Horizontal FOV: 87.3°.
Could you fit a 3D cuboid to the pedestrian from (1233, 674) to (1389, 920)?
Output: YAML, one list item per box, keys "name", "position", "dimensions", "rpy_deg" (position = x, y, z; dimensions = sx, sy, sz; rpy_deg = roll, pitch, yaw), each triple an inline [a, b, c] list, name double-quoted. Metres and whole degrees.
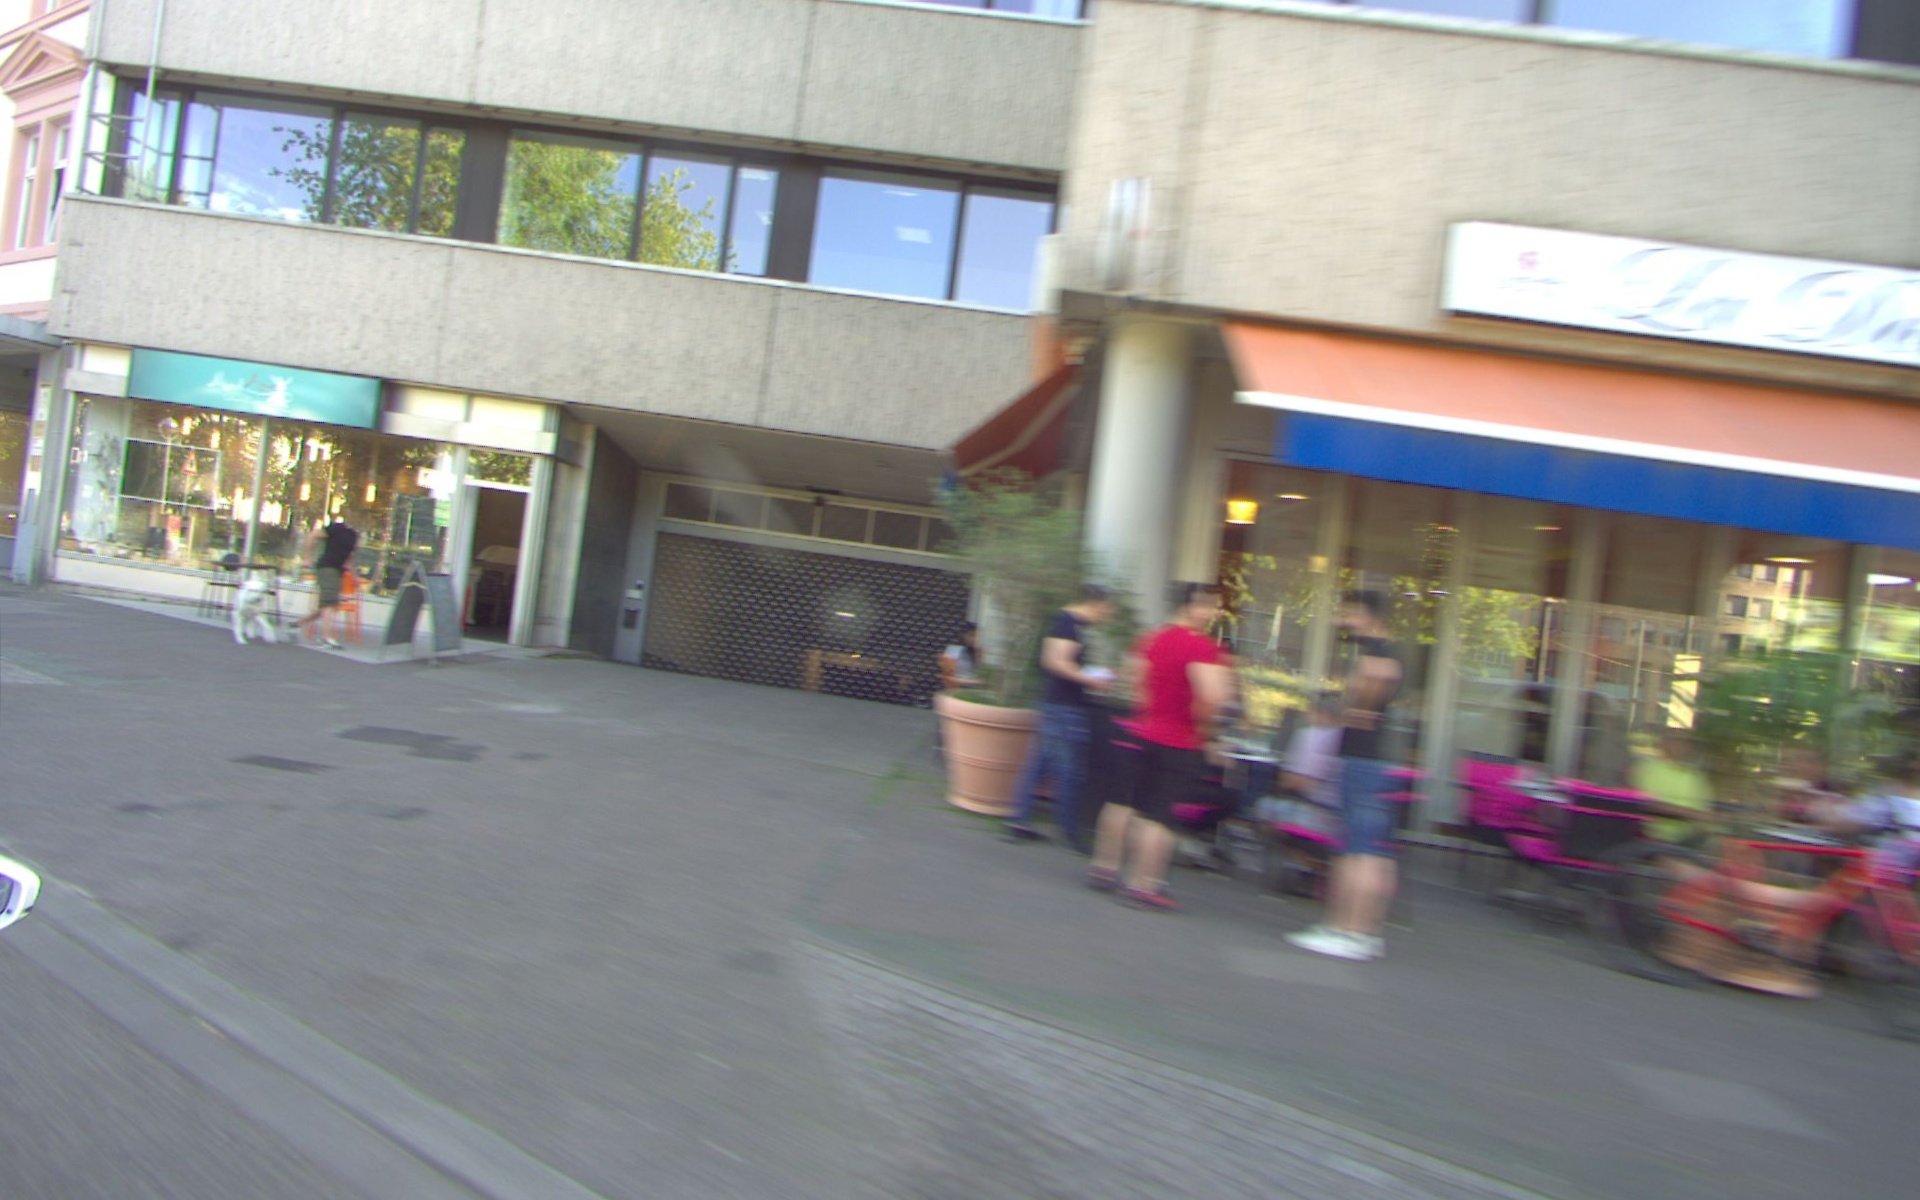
- name: "pedestrian"
  position: [2.039, 1.089, 5.819]
  dimensions: [0.614, 1.252, 0.630]
  rpy_deg: [6, 1, 33]

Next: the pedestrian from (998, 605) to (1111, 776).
- name: "pedestrian"
  position: [0.870, 0.824, 9.401]
  dimensions: [0.815, 1.418, 0.844]
  rpy_deg: [8, -1, 4]

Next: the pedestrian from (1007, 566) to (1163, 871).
- name: "pedestrian"
  position: [0.759, 0.703, 6.377]
  dimensions: [0.706, 1.732, 0.843]
  rpy_deg: [7, 1, 2]

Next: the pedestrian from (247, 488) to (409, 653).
- name: "pedestrian"
  position: [-7.567, -0.338, 12.081]
  dimensions: [1.005, 1.762, 1.135]
  rpy_deg: [6, -2, 32]

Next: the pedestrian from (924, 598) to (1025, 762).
- name: "pedestrian"
  position: [0.131, 0.756, 9.730]
  dimensions: [0.739, 1.418, 0.844]
  rpy_deg: [8, -2, 0]

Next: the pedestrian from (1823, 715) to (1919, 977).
- name: "pedestrian"
  position: [6.279, 1.594, 6.464]
  dimensions: [0.829, 1.573, 0.664]
  rpy_deg: [7, -2, 27]

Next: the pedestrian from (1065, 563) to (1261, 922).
- name: "pedestrian"
  position: [1.097, 0.725, 5.395]
  dimensions: [0.686, 1.734, 0.584]
  rpy_deg: [6, -2, 32]

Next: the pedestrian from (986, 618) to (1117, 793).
- name: "pedestrian"
  position: [0.790, 0.855, 8.477]
  dimensions: [0.815, 1.308, 0.844]
  rpy_deg: [6, 1, 17]

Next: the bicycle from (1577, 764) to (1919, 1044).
- name: "bicycle"
  position: [4.143, 1.496, 5.107]
  dimensions: [1.617, 1.046, 0.564]
  rpy_deg: [6, -2, 30]

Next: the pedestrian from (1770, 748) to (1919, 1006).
- name: "pedestrian"
  position: [5.014, 1.473, 5.371]
  dimensions: [0.829, 1.211, 0.664]
  rpy_deg: [7, -2, 27]

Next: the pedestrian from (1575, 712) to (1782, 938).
- name: "pedestrian"
  position: [4.700, 1.438, 6.632]
  dimensions: [0.669, 1.261, 0.763]
  rpy_deg: [8, -2, 0]

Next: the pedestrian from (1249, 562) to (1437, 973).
- name: "pedestrian"
  position: [1.951, 0.793, 5.099]
  dimensions: [0.600, 1.880, 0.671]
  rpy_deg: [6, 1, 33]
